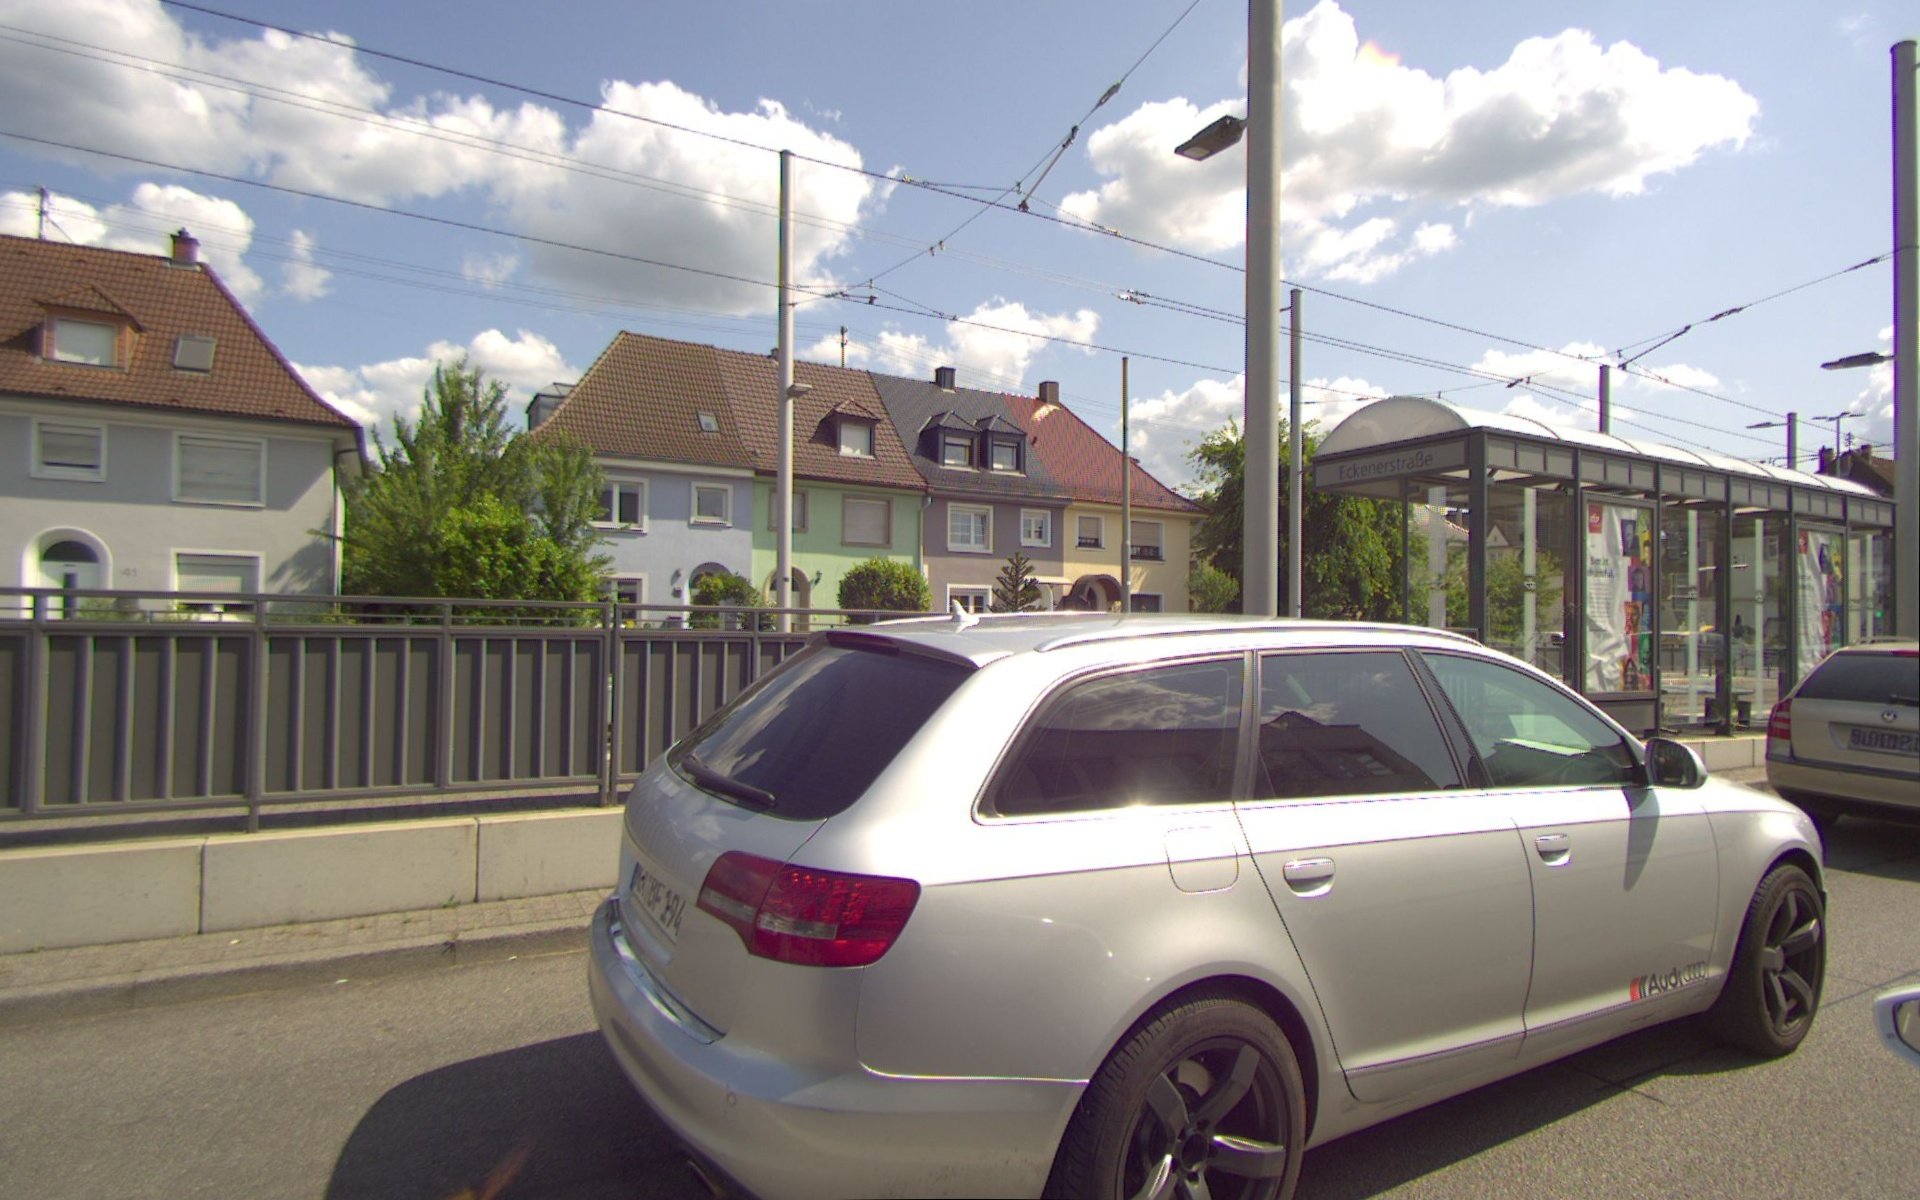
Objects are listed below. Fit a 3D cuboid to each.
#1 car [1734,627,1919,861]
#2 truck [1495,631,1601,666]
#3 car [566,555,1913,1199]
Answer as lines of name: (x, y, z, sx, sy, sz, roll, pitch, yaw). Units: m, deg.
car: (7.889, 1.022, 7.614, 4.073, 1.468, 1.723, 3, 0, -29)
truck: (38.487, 3.147, 65.950, 1.667, 1.947, 6.166, 2, 0, -25)
car: (1.251, 0.758, 3.521, 4.667, 1.491, 1.786, 3, 0, -30)
